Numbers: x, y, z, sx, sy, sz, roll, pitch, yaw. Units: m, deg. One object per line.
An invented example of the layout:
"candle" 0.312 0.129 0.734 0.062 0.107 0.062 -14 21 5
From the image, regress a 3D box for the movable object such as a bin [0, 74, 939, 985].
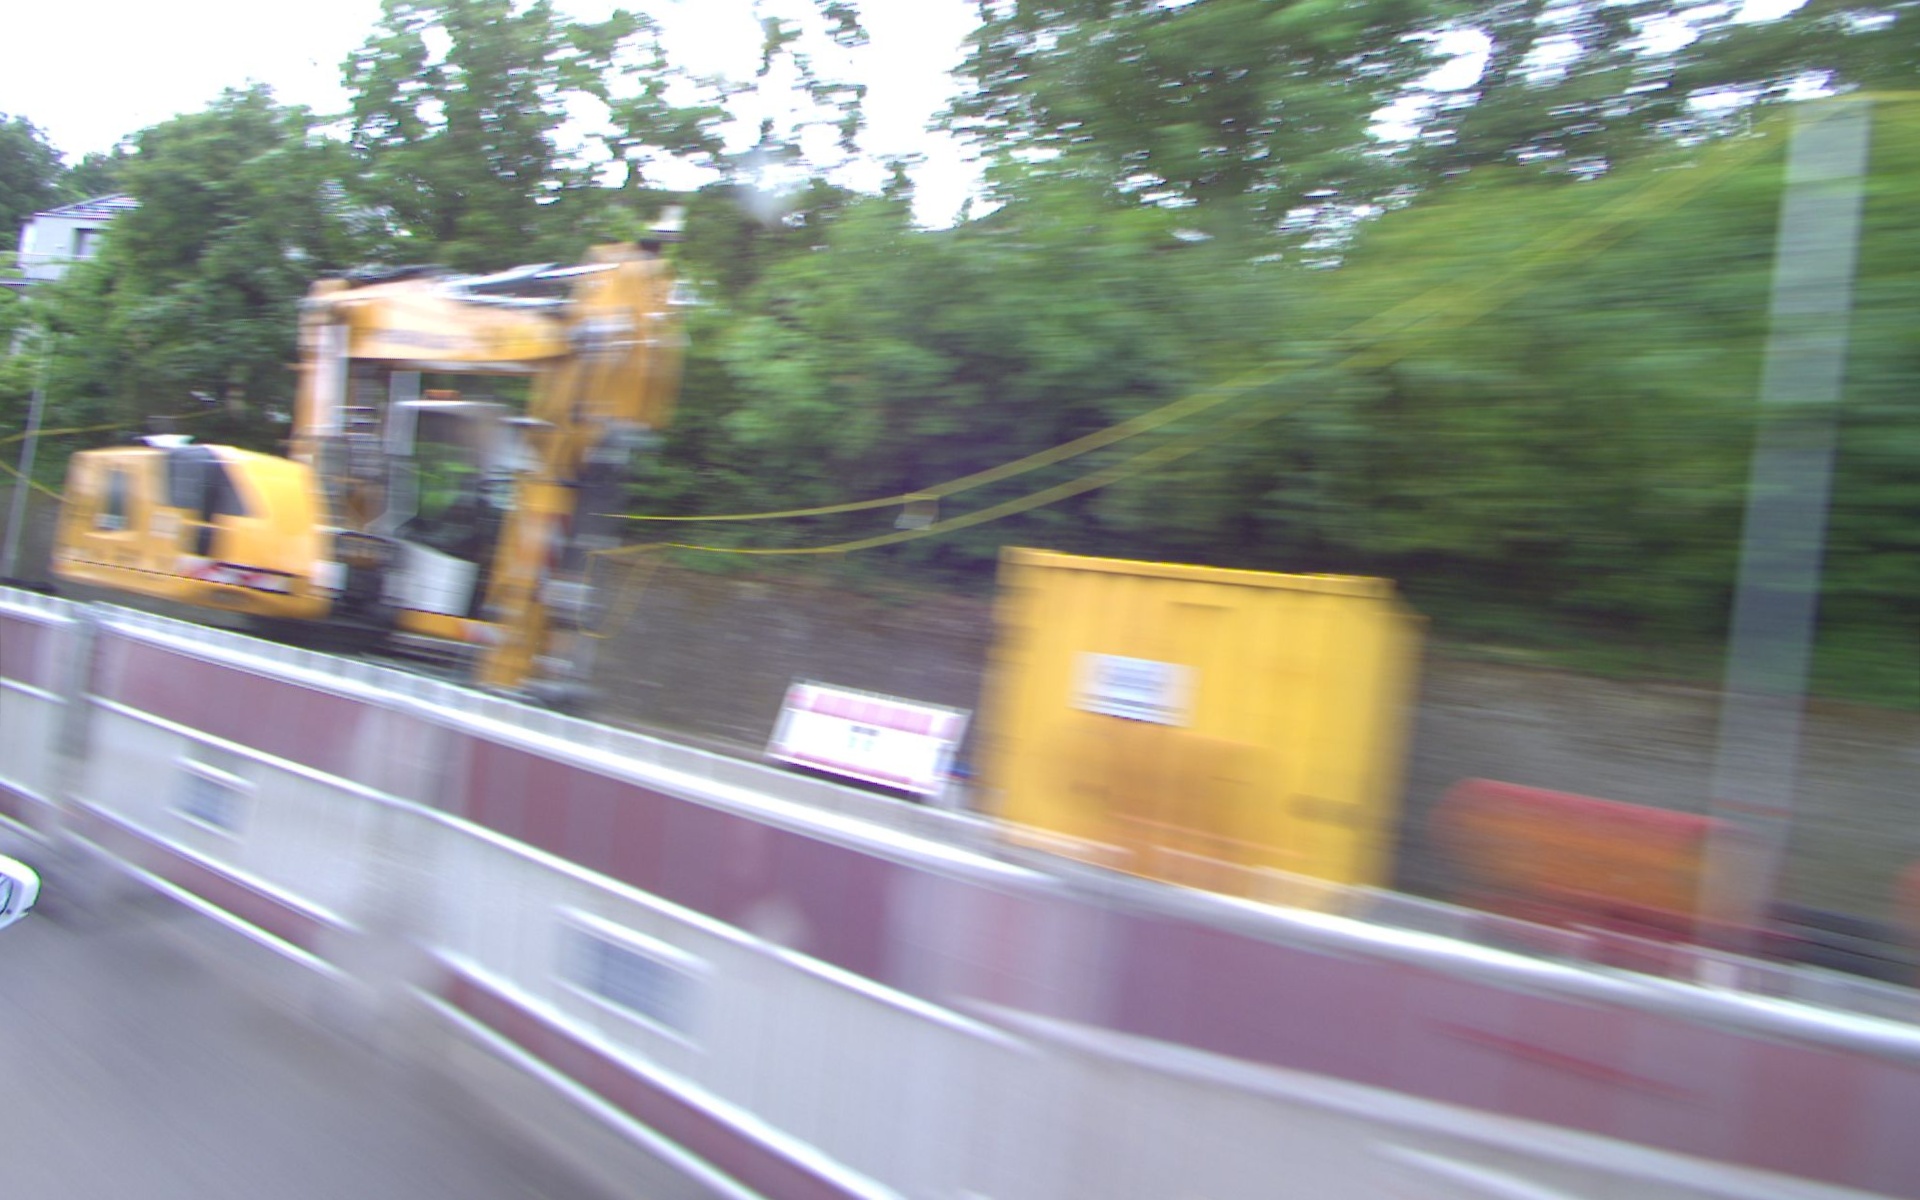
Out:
"movable object such as a bin" -4.150 -0.513 7.603 7.208 4.060 2.825 7 -2 33
